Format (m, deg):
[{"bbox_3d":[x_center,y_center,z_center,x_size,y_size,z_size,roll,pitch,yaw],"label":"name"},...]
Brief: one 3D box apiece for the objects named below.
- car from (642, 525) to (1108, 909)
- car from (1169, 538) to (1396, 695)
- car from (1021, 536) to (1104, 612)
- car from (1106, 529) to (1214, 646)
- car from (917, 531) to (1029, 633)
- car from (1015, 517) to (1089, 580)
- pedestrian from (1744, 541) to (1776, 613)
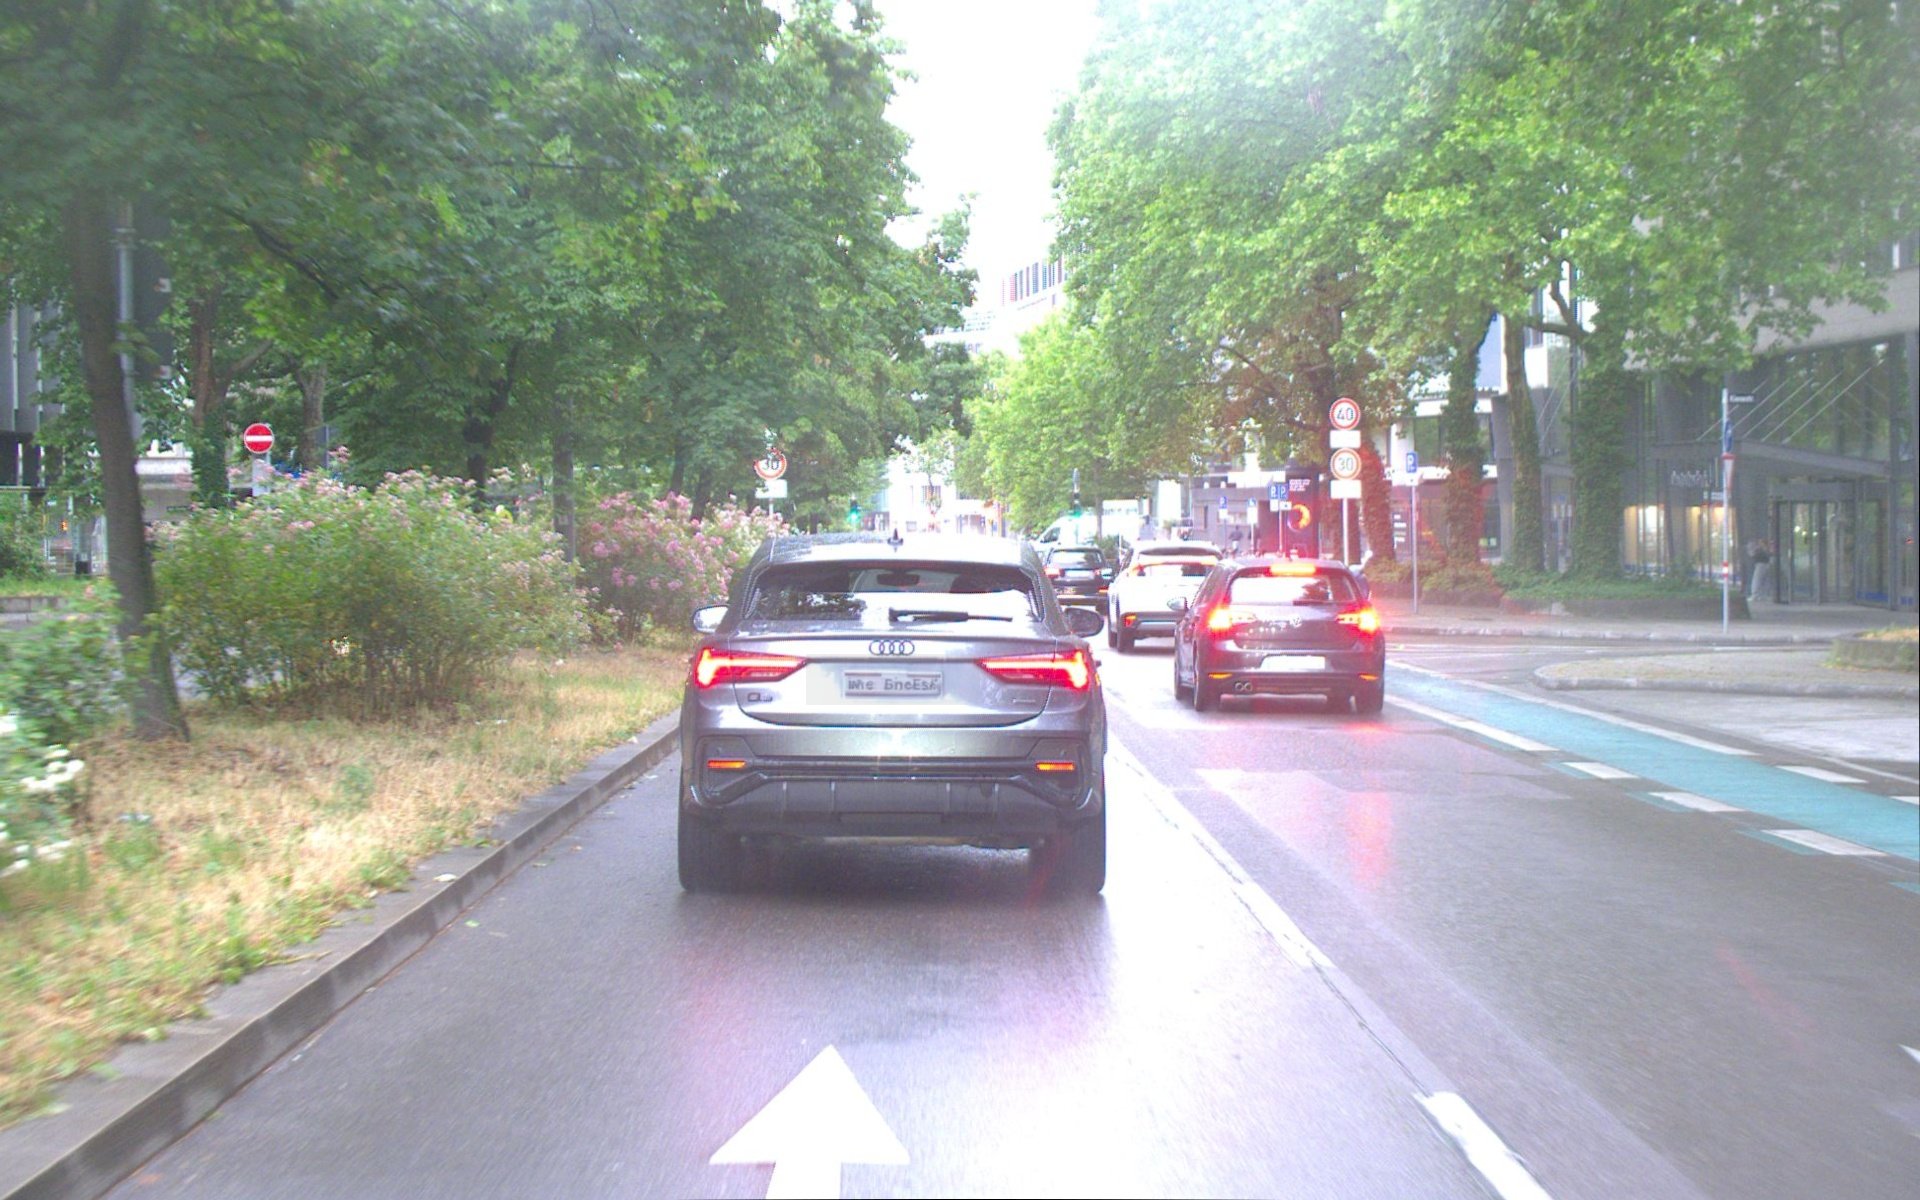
[{"bbox_3d":[-0.307,0.425,16.117,1.863,1.527,4.527,1,1,1],"label":"car"},{"bbox_3d":[3.036,0.116,33.100,1.765,1.408,4.000,0,1,-1],"label":"car"},{"bbox_3d":[2.371,-0.633,80.668,1.822,1.744,4.000,0,1,0],"label":"car"},{"bbox_3d":[2.942,-0.212,51.054,1.433,1.679,2.979,0,1,0],"label":"car"},{"bbox_3d":[0.189,-0.315,55.104,1.721,1.572,3.962,0,1,-1],"label":"car"},{"bbox_3d":[2.580,-1.470,97.391,1.993,1.744,4.000,0,1,0],"label":"car"},{"bbox_3d":[20.382,-0.594,87.587,0.650,1.809,0.655,1,1,-1],"label":"pedestrian"}]
